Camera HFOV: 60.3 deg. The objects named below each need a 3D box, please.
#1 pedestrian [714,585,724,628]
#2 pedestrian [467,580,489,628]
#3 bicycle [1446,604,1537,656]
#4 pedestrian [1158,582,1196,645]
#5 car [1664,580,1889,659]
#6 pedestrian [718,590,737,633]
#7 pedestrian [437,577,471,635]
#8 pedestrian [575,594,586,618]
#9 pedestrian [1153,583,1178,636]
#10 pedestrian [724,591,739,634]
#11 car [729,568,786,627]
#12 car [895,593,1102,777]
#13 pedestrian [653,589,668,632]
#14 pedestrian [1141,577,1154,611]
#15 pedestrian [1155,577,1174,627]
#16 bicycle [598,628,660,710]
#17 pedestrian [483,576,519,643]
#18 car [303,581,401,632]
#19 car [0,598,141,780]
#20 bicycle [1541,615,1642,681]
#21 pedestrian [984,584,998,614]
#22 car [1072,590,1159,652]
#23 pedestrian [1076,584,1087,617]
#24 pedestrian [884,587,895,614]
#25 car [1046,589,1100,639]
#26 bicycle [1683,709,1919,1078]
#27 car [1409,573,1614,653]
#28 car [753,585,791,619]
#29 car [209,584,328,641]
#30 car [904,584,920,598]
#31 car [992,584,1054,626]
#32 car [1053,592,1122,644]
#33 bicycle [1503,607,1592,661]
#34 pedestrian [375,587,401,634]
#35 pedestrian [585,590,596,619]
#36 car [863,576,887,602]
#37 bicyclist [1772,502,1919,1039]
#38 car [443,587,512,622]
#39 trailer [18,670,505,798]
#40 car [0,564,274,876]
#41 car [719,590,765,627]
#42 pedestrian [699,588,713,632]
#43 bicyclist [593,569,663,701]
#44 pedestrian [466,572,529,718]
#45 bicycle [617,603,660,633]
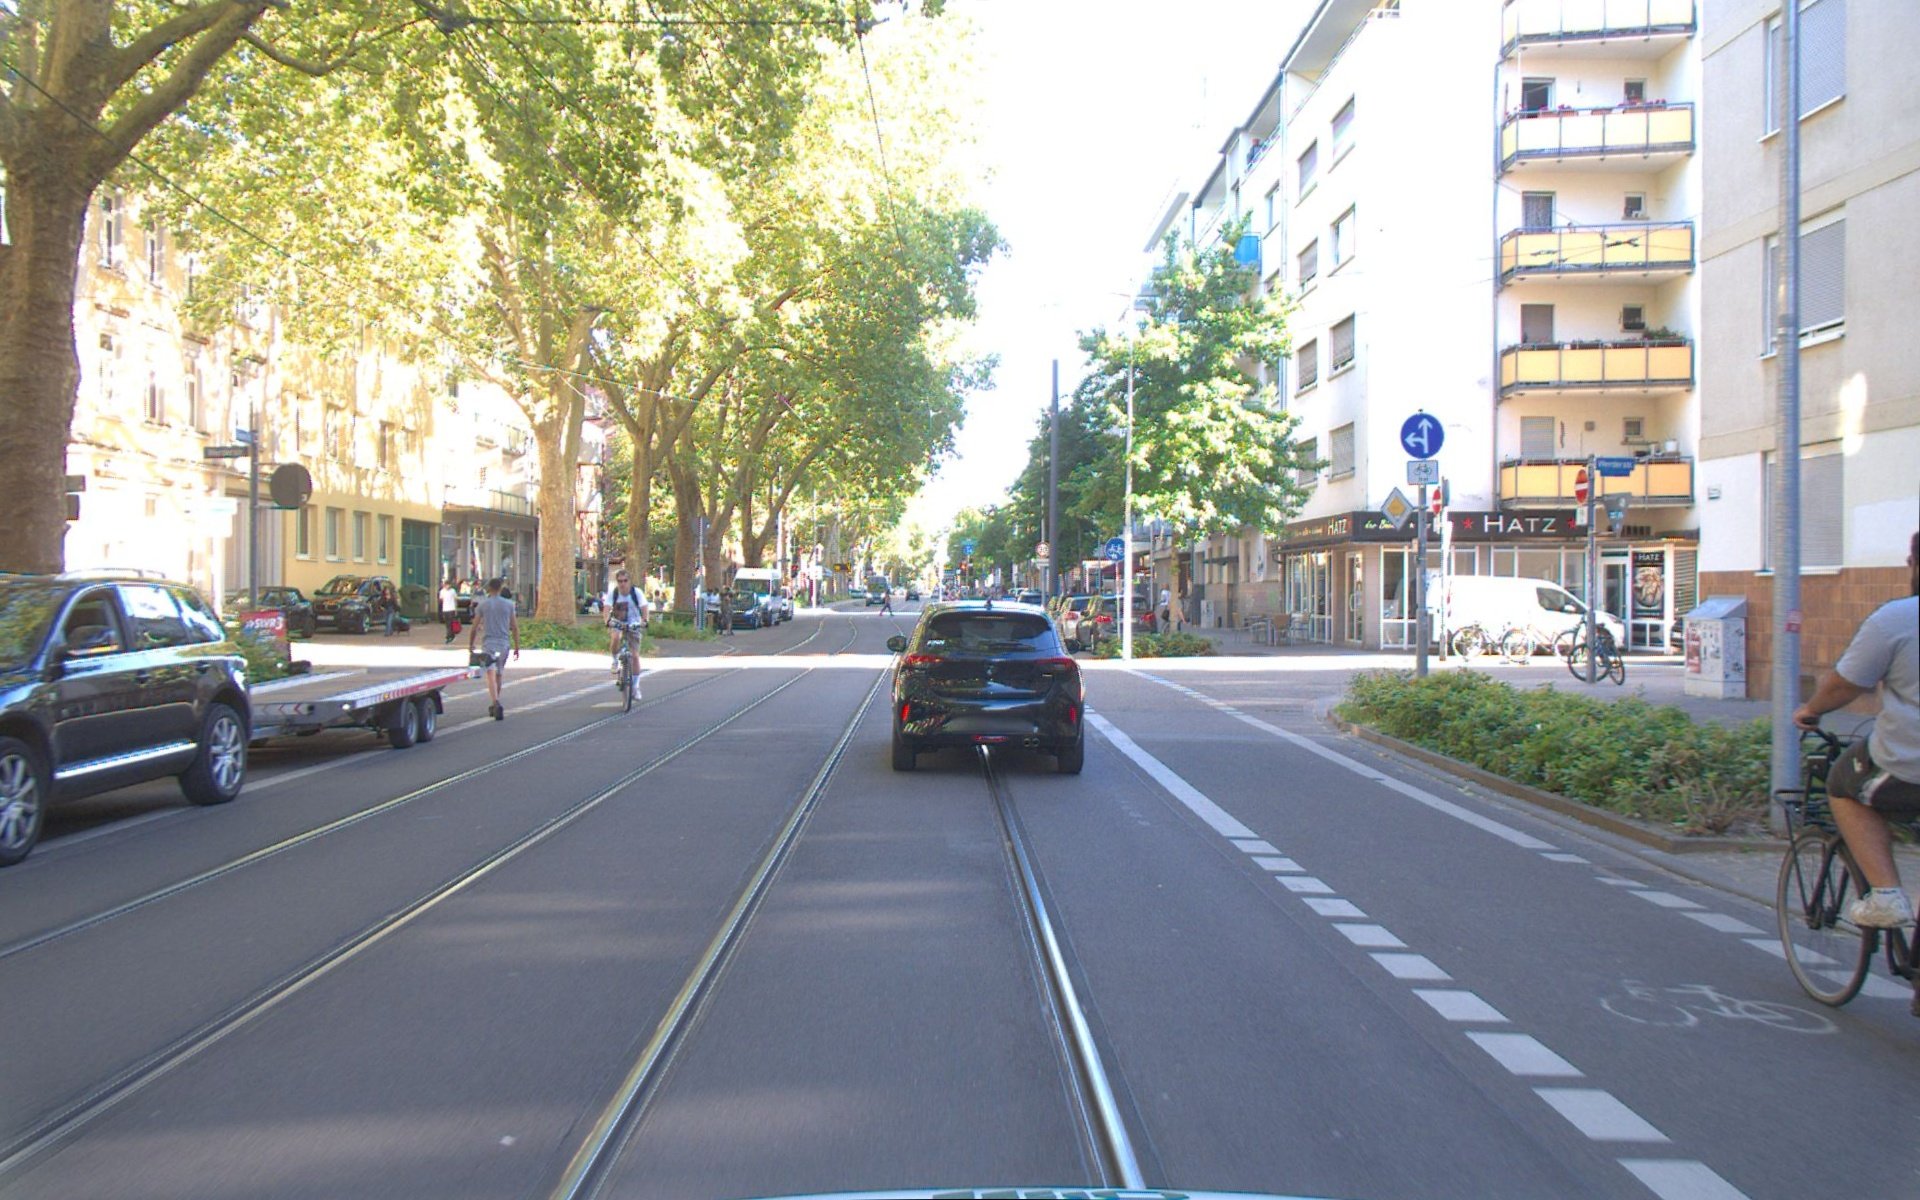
[{"bbox_3d":[-8.952,0.246,61.448,0.339,1.610,0.508,0,0,-3],"label":"pedestrian"},{"bbox_3d":[-16.751,0.130,57.537,0.540,1.681,0.649,0,0,3],"label":"pedestrian"},{"bbox_3d":[11.794,0.660,36.732,1.797,1.136,0.703,0,0,2],"label":"bicycle"},{"bbox_3d":[5.702,0.340,43.402,0.837,1.645,0.770,0,0,20],"label":"pedestrian"},{"bbox_3d":[17.378,0.396,35.313,3.924,1.634,1.803,0,0,-1],"label":"car"},{"bbox_3d":[-8.718,0.434,62.082,0.670,1.610,0.557,0,0,-3],"label":"pedestrian"},{"bbox_3d":[-14.400,0.167,47.072,0.830,1.661,0.643,0,0,-7],"label":"pedestrian"},{"bbox_3d":[-21.164,0.337,92.182,0.497,1.356,0.526,0,0,-4],"label":"pedestrian"},{"bbox_3d":[6.987,0.315,56.287,0.776,1.779,0.770,0,0,1],"label":"pedestrian"},{"bbox_3d":[-8.496,0.462,61.396,0.496,1.610,0.526,0,0,-2],"label":"pedestrian"},{"bbox_3d":[-9.422,-0.149,77.293,2.050,2.629,5.995,0,0,-1],"label":"car"},{"bbox_3d":[0.274,0.682,15.203,1.646,1.447,3.626,1,0,-1],"label":"car"},{"bbox_3d":[-11.150,0.385,61.585,0.498,1.610,0.525,0,0,-13],"label":"pedestrian"},{"bbox_3d":[9.725,-0.316,85.831,0.616,1.763,0.632,0,0,5],"label":"pedestrian"},{"bbox_3d":[6.856,0.064,55.463,0.588,1.680,0.631,0,0,0],"label":"pedestrian"},{"bbox_3d":[-4.358,0.890,21.869,0.510,0.979,1.928,0,0,-2],"label":"bicycle"},{"bbox_3d":[-13.161,0.276,47.461,0.888,1.901,0.643,0,0,-7],"label":"pedestrian"},{"bbox_3d":[-19.270,0.195,52.590,1.647,1.543,4.000,1,0,0],"label":"car"},{"bbox_3d":[-9.596,0.773,15.077,3.363,1.557,1.786,0,0,-4],"label":"car"},{"bbox_3d":[10.652,0.785,27.958,0.787,1.033,1.966,-1,0,-6],"label":"bicycle"},{"bbox_3d":[2.186,-0.072,116.845,0.839,2.048,1.069,-4,0,0],"label":"pedestrian"},{"bbox_3d":[4.206,0.529,45.307,1.684,1.601,4.081,0,0,-5],"label":"car"},{"bbox_3d":[6.591,0.035,89.708,0.616,1.763,0.632,0,0,4],"label":"pedestrian"},{"bbox_3d":[-4.279,0.033,100.409,0.583,1.618,0.892,0,0,-8],"label":"pedestrian"},{"bbox_3d":[3.728,0.440,54.948,1.617,1.601,3.084,0,0,1],"label":"car"},{"bbox_3d":[3.515,1.037,6.188,0.687,1.111,1.989,2,0,-1],"label":"bicycle"},{"bbox_3d":[13.264,0.295,39.926,4.273,1.863,1.998,0,0,-5],"label":"car"},{"bbox_3d":[-9.987,0.092,88.020,1.955,1.747,3.995,0,0,-6],"label":"car"},{"bbox_3d":[-19.158,0.320,45.986,1.647,1.489,4.000,0,0,0],"label":"car"},{"bbox_3d":[-5.824,-1.081,200.977,1.714,1.680,4.000,0,0,1],"label":"car"},{"bbox_3d":[2.546,0.190,68.195,1.956,1.668,3.994,0,0,-7],"label":"car"},{"bbox_3d":[3.886,0.519,50.897,1.684,1.516,3.680,0,0,-2],"label":"car"},{"bbox_3d":[12.607,0.717,35.546,1.734,1.136,0.614,0,0,12],"label":"bicycle"},{"bbox_3d":[-17.672,0.320,51.132,0.540,1.427,0.649,0,0,3],"label":"pedestrian"},{"bbox_3d":[-20.487,0.263,91.773,0.497,1.610,0.526,0,0,-4],"label":"pedestrian"},{"bbox_3d":[-7.811,-1.014,151.385,1.955,2.250,5.097,0,0,-5],"label":"car"},{"bbox_3d":[3.555,0.569,5.992,0.770,1.790,0.914,0,0,-2],"label":"bicyclist"},{"bbox_3d":[-19.096,0.164,65.628,1.661,1.298,3.827,0,1,-1],"label":"car"},{"bbox_3d":[-6.332,1.182,16.125,2.117,0.643,6.399,-1,0,-1],"label":"trailer"},{"bbox_3d":[-6.335,0.682,10.688,1.953,1.729,4.483,-2,0,-1],"label":"car"},{"bbox_3d":[-9.340,0.329,71.120,1.720,1.534,3.997,0,0,-4],"label":"car"},{"bbox_3d":[-9.413,0.377,61.329,0.497,1.610,0.526,0,0,-5],"label":"pedestrian"},{"bbox_3d":[-4.366,0.449,21.831,0.769,1.707,0.957,0,0,-4],"label":"bicyclist"},{"bbox_3d":[-5.806,0.545,20.793,0.699,1.765,0.909,-2,1,-15],"label":"pedestrian"},{"bbox_3d":[-11.896,0.668,61.209,1.659,1.080,0.452,2,0,29],"label":"bicycle"}]
